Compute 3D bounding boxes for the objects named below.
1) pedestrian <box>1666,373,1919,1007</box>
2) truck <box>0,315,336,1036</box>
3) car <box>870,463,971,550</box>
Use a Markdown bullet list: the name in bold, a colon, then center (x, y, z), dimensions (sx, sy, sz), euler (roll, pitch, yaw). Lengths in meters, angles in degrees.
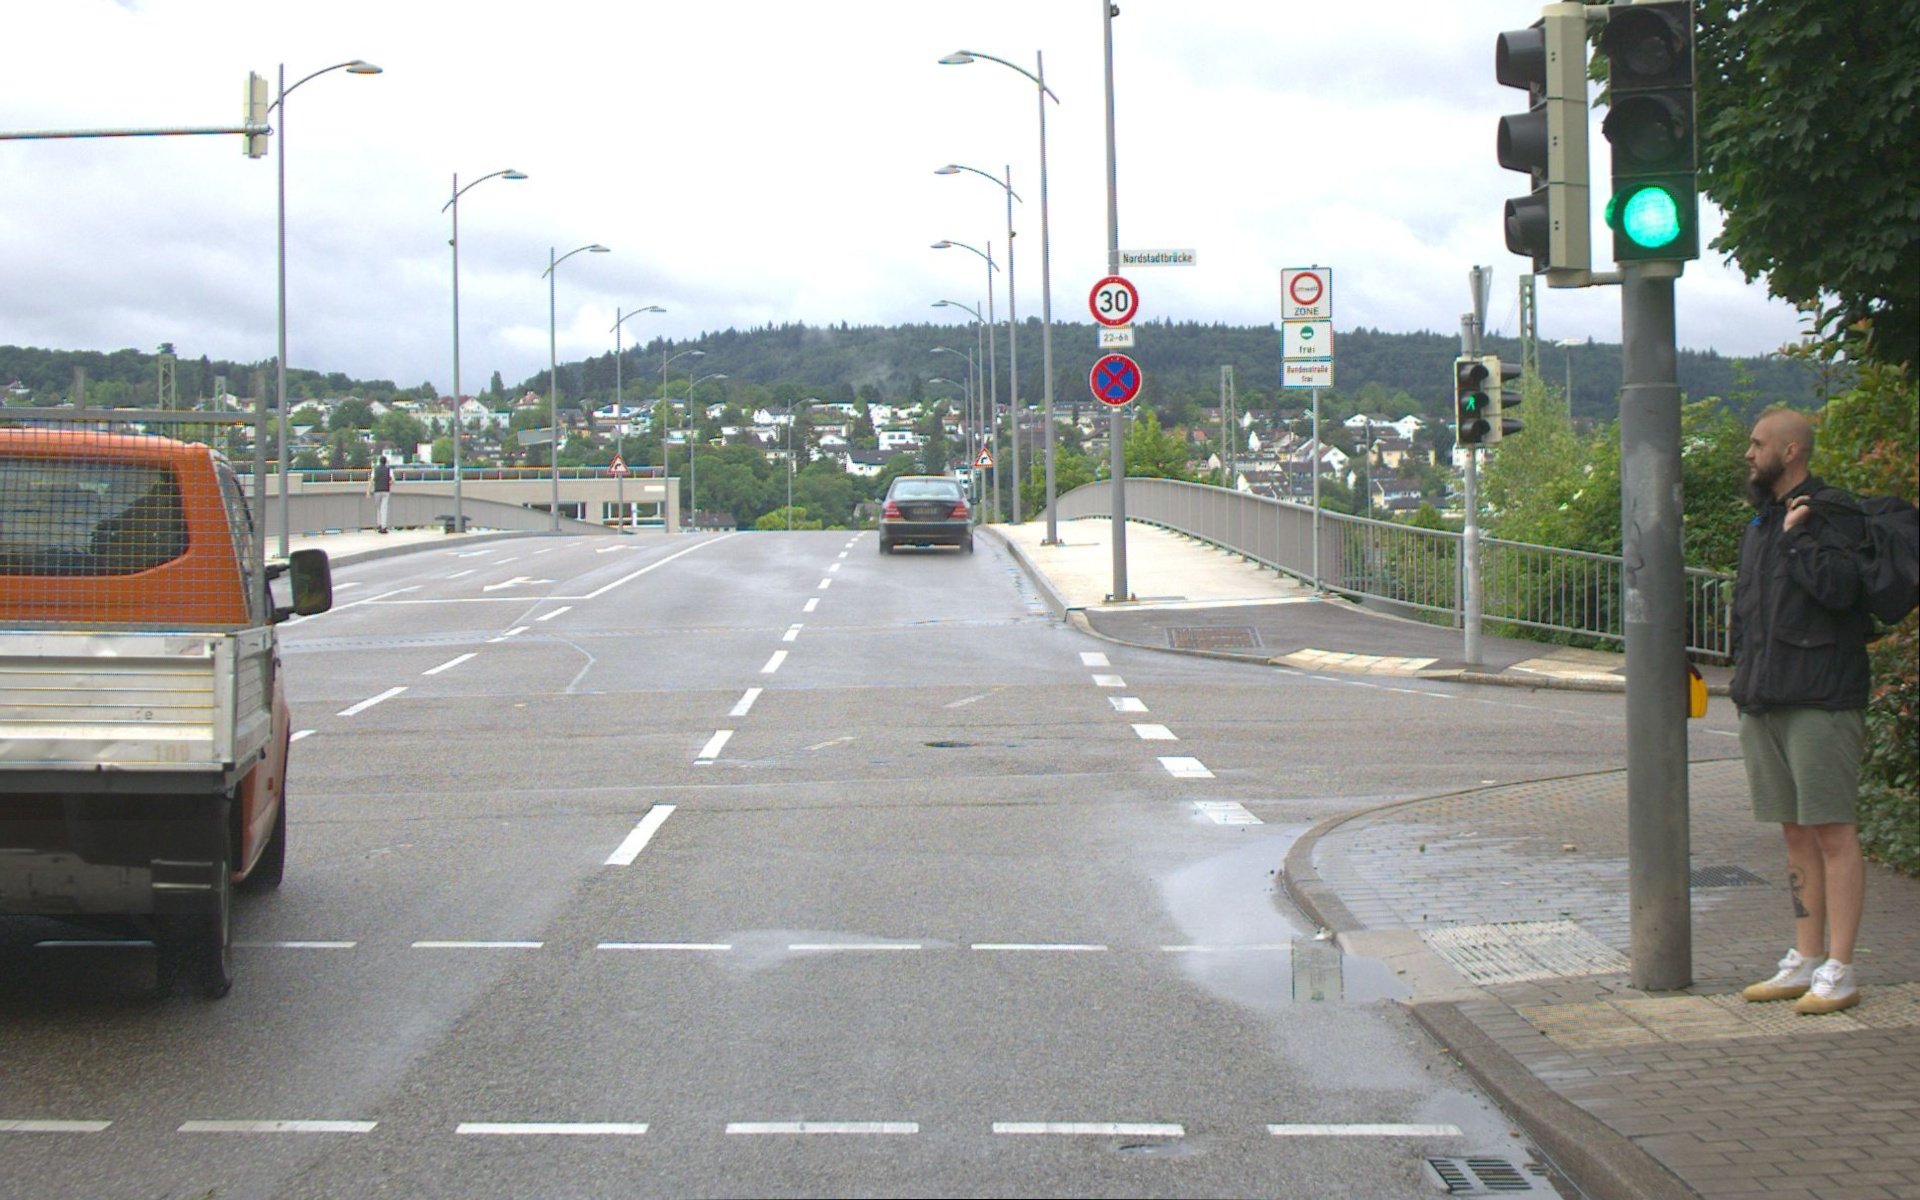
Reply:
- **pedestrian**: center (2.580, 0.258, 10.339), dimensions (0.733, 1.835, 0.631), euler (-1, 0, -2)
- **truck**: center (-3.601, 0.215, 12.723), dimensions (2.399, 2.122, 5.316), euler (-1, 1, -9)
- **car**: center (-0.713, -1.686, 62.772), dimensions (1.754, 1.474, 4.000), euler (-1, 1, 0)
